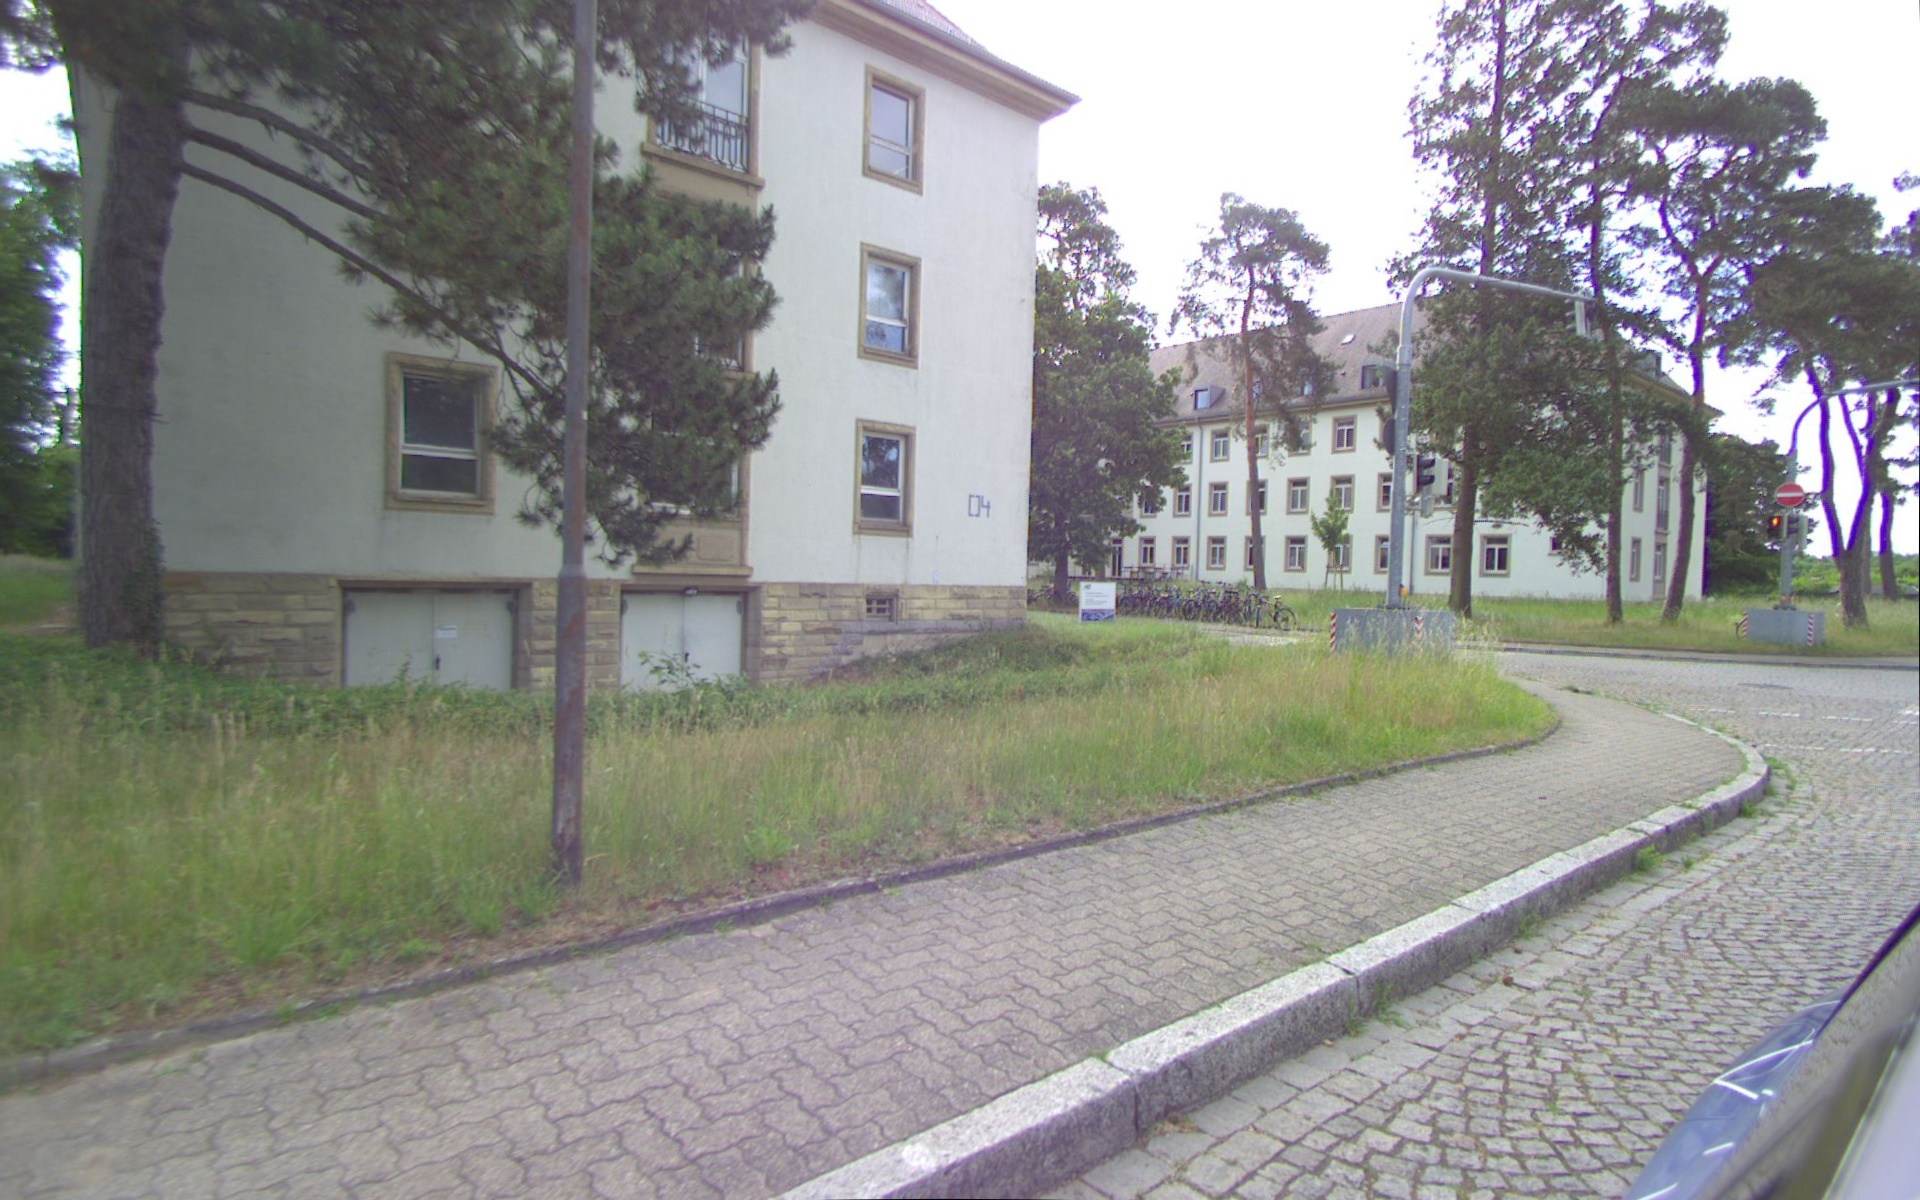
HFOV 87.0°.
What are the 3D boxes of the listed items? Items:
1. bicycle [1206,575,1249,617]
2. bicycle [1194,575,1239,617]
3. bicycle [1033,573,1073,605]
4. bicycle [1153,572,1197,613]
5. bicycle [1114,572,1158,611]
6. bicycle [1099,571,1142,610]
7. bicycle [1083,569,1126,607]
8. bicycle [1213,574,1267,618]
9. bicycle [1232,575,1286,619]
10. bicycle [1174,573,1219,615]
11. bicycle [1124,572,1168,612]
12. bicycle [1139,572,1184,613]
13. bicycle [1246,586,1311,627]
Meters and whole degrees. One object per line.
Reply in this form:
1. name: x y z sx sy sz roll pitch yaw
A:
1. bicycle: 8.717 -0.135 32.923 0.481 1.348 1.808 3 2 44
2. bicycle: 8.448 -0.144 33.263 0.571 1.348 1.808 3 2 44
3. bicycle: 3.657 -0.441 39.629 0.571 1.201 1.809 3 2 43
4. bicycle: 7.328 -0.255 34.429 0.571 1.348 1.808 3 2 44
5. bicycle: 6.283 -0.293 36.033 0.571 1.348 1.808 3 2 44
6. bicycle: 5.792 -0.341 36.395 0.571 1.348 1.808 3 2 44
7. bicycle: 5.288 -0.451 36.893 0.571 1.348 1.808 3 2 44
8. bicycle: 9.016 -0.126 32.526 1.802 1.348 0.573 0 2 -33
9. bicycle: 9.512 -0.101 32.125 1.802 1.348 0.573 0 2 -33
10. bicycle: 7.913 -0.211 33.809 0.571 1.348 1.808 3 2 44
11. bicycle: 6.523 -0.280 35.435 0.571 1.348 1.808 3 2 44
12. bicycle: 6.946 -0.266 34.847 0.571 1.348 1.808 3 2 44
13. bicycle: 9.353 0.164 29.753 0.562 1.098 1.838 -2 3 -36
